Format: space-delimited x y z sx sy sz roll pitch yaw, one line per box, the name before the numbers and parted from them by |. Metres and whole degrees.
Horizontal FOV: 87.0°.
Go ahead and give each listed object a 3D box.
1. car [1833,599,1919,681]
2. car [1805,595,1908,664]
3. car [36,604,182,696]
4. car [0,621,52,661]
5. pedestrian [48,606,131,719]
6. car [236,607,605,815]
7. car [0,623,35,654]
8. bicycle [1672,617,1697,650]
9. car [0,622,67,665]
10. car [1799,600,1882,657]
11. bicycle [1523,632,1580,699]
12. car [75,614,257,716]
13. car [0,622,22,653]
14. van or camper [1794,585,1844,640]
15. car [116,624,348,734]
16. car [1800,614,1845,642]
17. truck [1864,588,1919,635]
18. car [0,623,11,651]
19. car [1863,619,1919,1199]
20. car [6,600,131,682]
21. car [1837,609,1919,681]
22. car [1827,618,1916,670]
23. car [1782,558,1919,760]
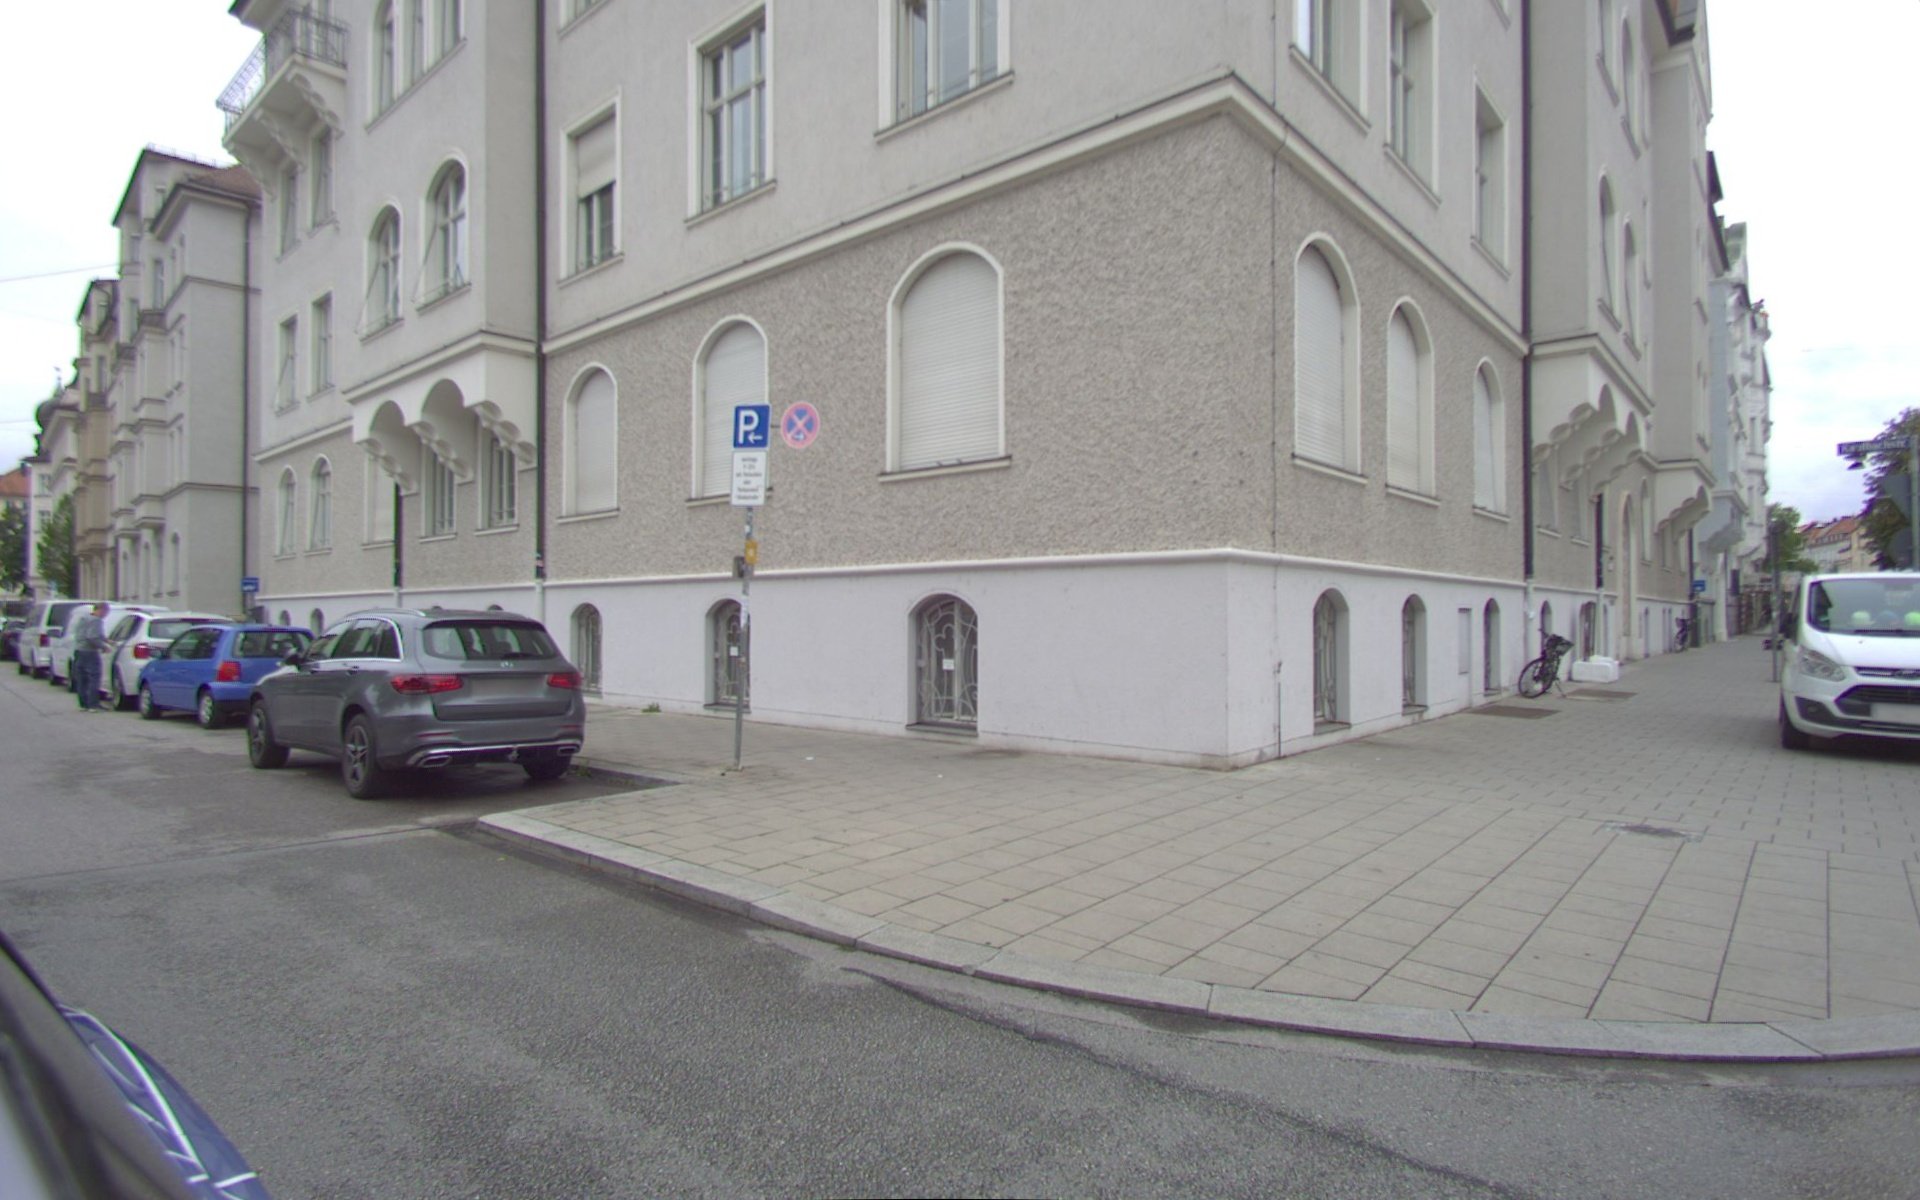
car | 22.699 0.939 24.664 2.027 1.852 4.078 -1 -2 42
car | 29.431 0.961 33.373 2.121 2.108 4.762 -1 -2 37
car | -18.701 1.047 22.163 5.035 1.802 1.728 -1 -3 42
car | -36.678 1.568 39.165 4.379 1.475 1.836 -1 -3 43
pedestrian | -14.139 0.980 16.438 0.877 1.769 0.950 -1 -1 44
car | -5.488 0.918 10.022 4.494 1.614 1.728 -1 -3 41
car | -43.868 1.759 46.521 3.731 1.373 1.785 -1 -3 45
bicycle | 24.124 1.109 33.684 0.491 1.057 1.805 -1 -2 41
car | -33.023 1.512 35.667 4.379 1.423 1.836 -1 -3 43
car | 33.104 1.055 38.165 2.122 2.009 4.759 -1 -2 39
bicycle | 10.007 1.082 17.093 0.491 1.057 1.805 -1 -2 41
car | -14.310 1.087 18.143 4.494 1.614 1.728 -1 -3 41
car | -47.464 1.820 49.890 1.604 1.467 3.943 3 -3 -45
van or camper | 48.683 0.666 57.310 1.999 2.935 6.349 -1 0 41
car | -10.921 1.099 15.133 3.654 1.425 1.677 -1 -2 35
car | 44.606 1.442 52.384 1.696 1.356 3.491 -1 -2 40
truck | 77.439 0.978 84.067 3.189 3.651 8.614 -1 -1 40
car | -51.597 1.931 53.750 1.604 1.440 3.944 3 -3 -44
car | 4.187 0.744 1.187 4.815 1.459 1.893 0 -1 -6
car | -23.249 1.035 26.322 4.956 1.953 1.836 -1 -3 42
car | 19.107 0.886 20.698 1.696 1.356 3.630 -1 -2 40
car | 25.732 1.206 28.656 1.696 1.356 3.492 -1 -2 39
car | 10.552 0.579 11.402 1.923 1.895 4.847 -1 -1 39
